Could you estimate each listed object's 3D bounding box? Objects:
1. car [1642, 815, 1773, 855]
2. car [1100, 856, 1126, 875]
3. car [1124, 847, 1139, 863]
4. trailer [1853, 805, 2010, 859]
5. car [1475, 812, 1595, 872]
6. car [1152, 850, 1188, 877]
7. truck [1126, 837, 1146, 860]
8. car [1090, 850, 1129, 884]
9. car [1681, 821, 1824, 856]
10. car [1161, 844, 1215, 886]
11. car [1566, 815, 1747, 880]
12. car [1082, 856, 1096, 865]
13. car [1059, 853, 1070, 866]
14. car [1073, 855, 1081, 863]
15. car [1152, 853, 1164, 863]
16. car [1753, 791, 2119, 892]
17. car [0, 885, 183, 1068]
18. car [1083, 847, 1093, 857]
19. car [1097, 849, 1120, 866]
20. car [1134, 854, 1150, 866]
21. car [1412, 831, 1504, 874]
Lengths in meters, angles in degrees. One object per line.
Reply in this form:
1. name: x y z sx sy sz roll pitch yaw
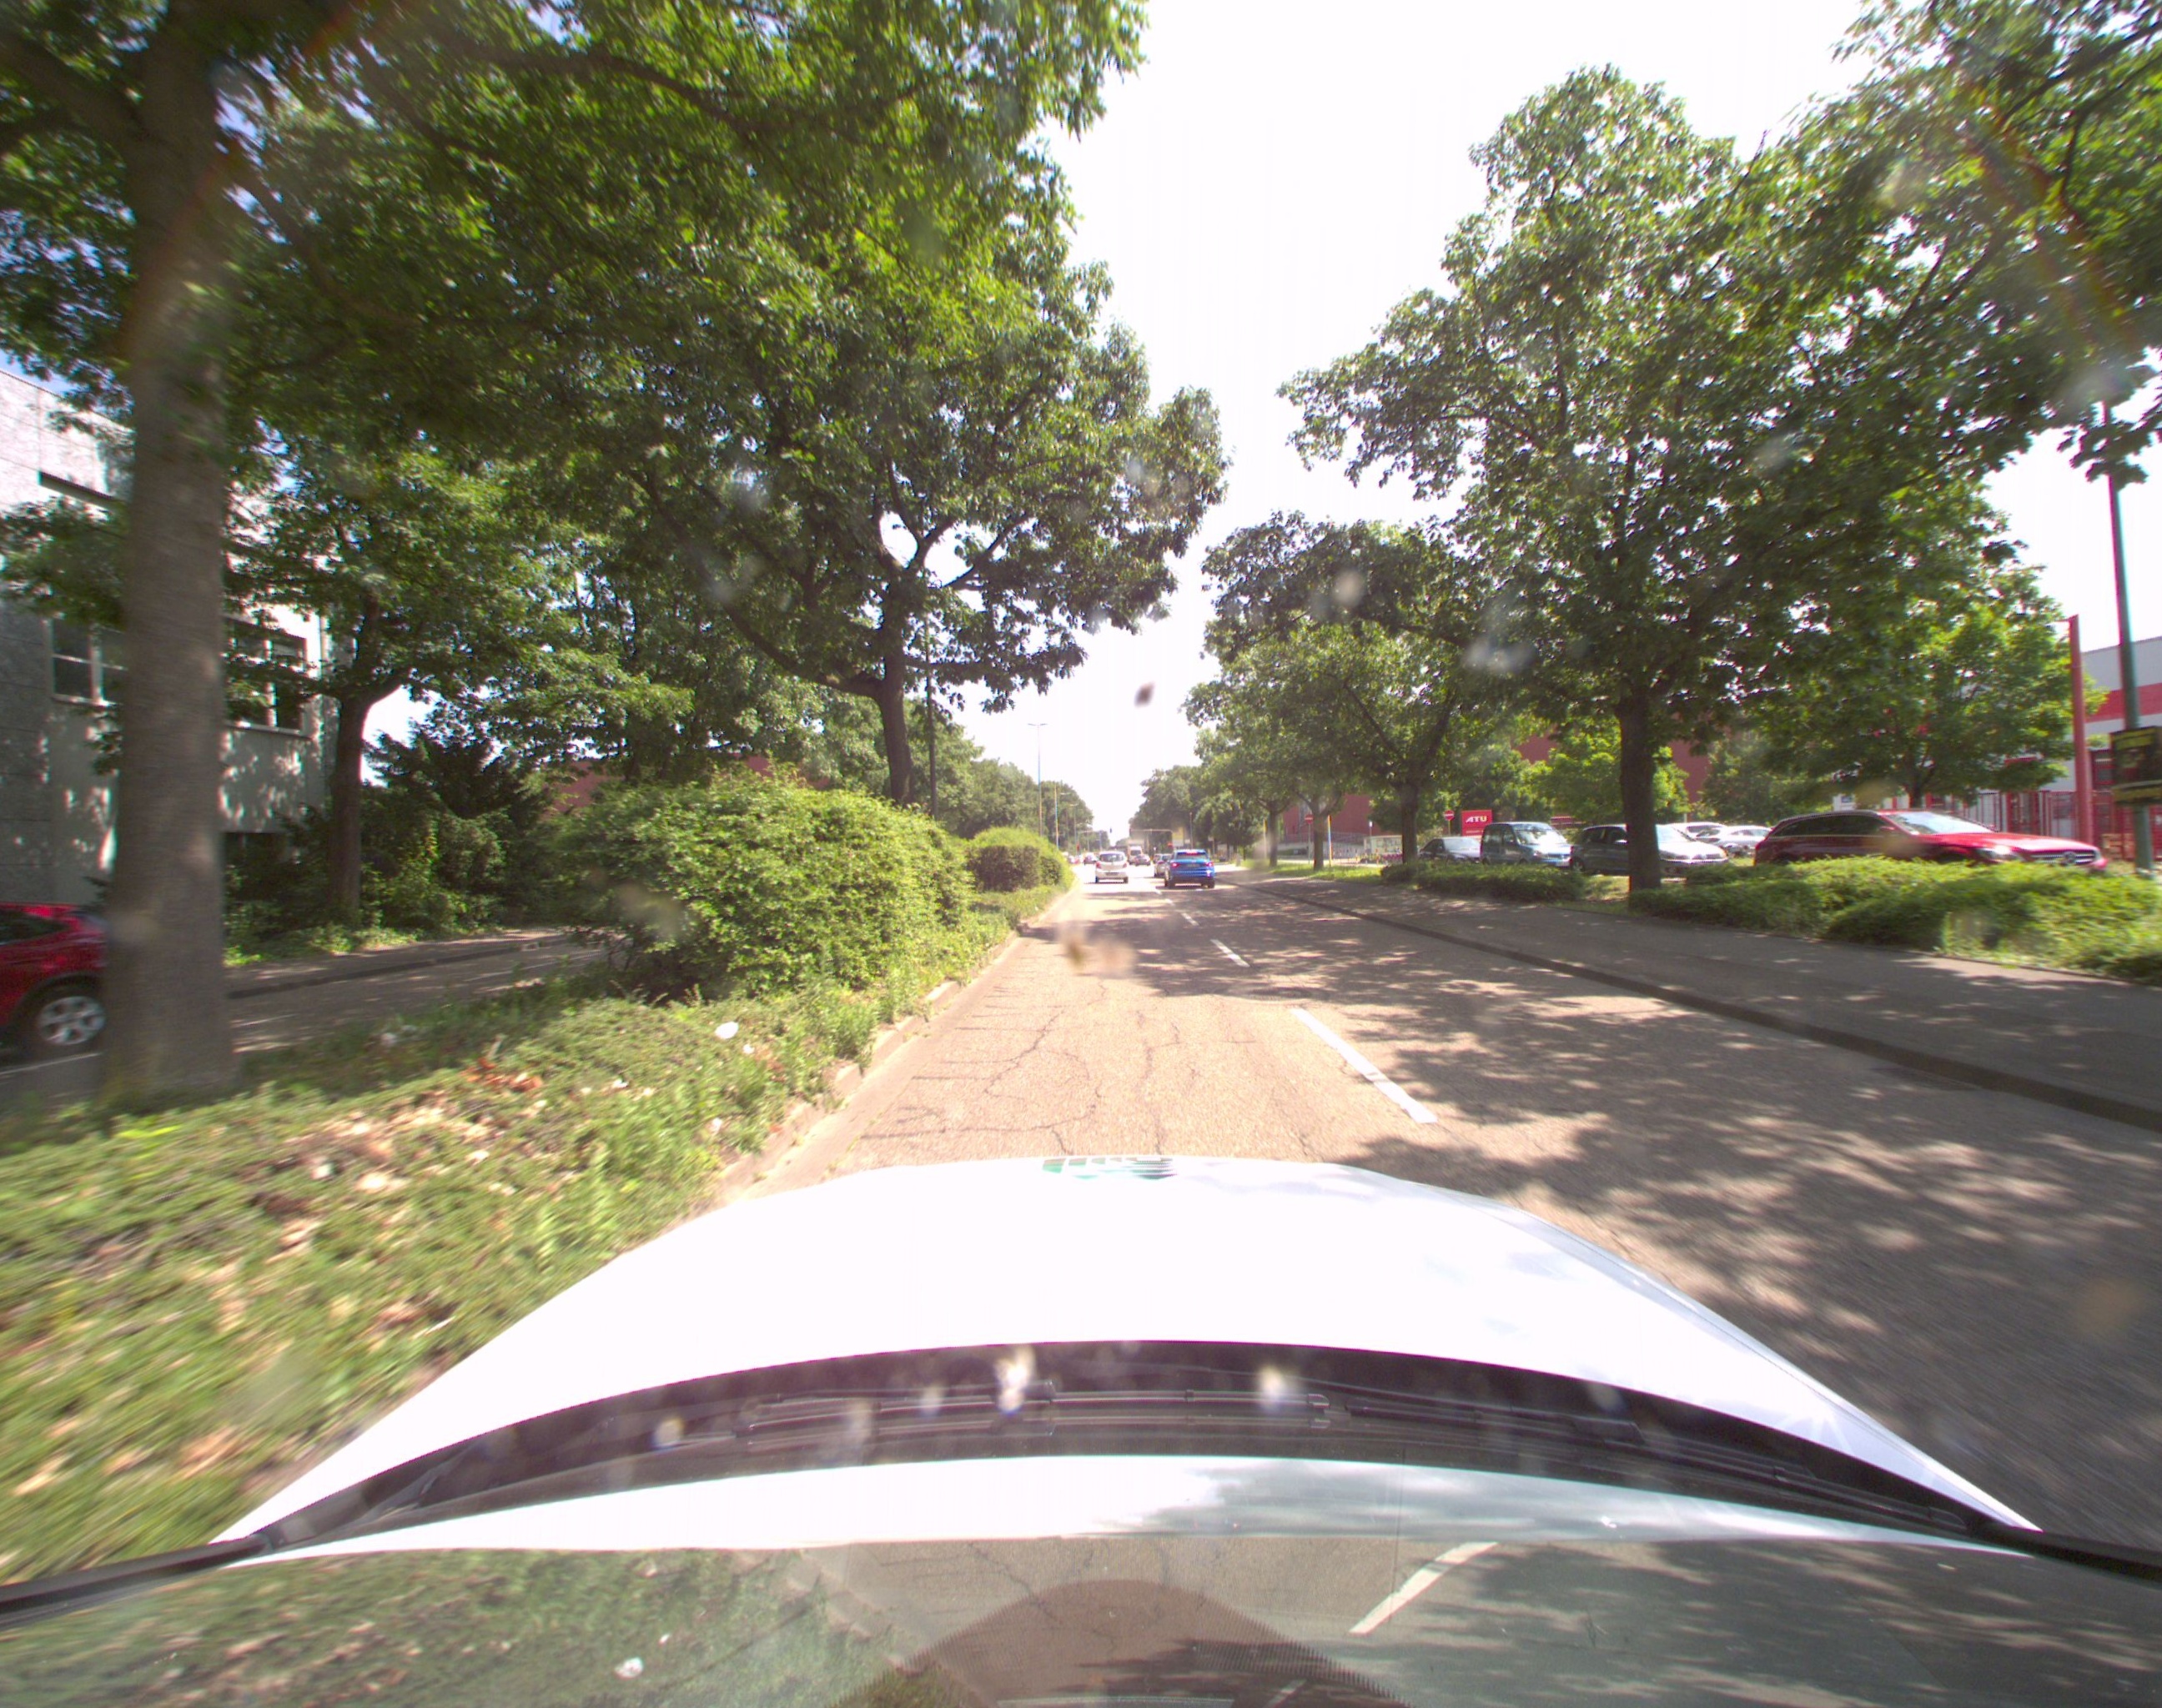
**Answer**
1. car: 26.154 -0.773 34.115 3.974 1.442 1.942 -3 0 0
2. car: 2.471 0.892 61.893 1.877 1.354 4.002 -2 -1 2
3. car: 7.418 0.142 119.534 1.986 2.255 4.002 -3 0 2
4. trailer: 28.270 -0.717 27.140 3.589 1.582 1.414 -3 0 3
5. car: 14.000 -0.325 25.367 1.693 1.637 3.909 -2 -1 4
6. car: 5.344 0.580 49.252 1.859 1.473 4.001 -2 -1 2
7. truck: 8.712 -0.823 129.857 2.921 3.502 9.162 -3 0 2
8. car: 1.368 0.633 39.994 1.634 1.552 3.322 -2 -1 -2
9. car: 26.175 -0.592 31.859 3.972 1.221 1.910 -2 -1 1
10. car: 4.379 0.466 33.901 1.802 1.593 4.351 -2 -1 2
11. car: 13.861 -0.156 19.917 1.694 1.380 3.907 -2 0 1
12. car: 1.338 1.095 134.649 1.986 1.288 4.002 -3 0 2
13. car: -3.073 1.059 151.436 1.772 2.282 4.755 -2 -1 3
14. car: -0.676 0.911 141.099 1.364 1.308 2.692 -3 0 -1
15. car: 12.090 0.573 127.488 1.627 1.464 4.002 -3 0 2
16. car: 13.958 -0.183 13.754 1.694 1.380 4.325 -2 0 1
17. car: -11.016 1.236 6.804 1.814 1.635 4.522 -4 0 2
18. car: 1.613 -0.409 182.683 1.986 2.013 4.002 -3 0 2
19. car: 2.522 0.344 75.740 1.790 1.523 3.997 -2 -1 -2
20. car: 7.773 0.761 103.711 1.859 1.310 4.001 -3 0 2
21. car: 14.224 -0.032 31.038 1.692 1.424 4.661 -2 -1 5
